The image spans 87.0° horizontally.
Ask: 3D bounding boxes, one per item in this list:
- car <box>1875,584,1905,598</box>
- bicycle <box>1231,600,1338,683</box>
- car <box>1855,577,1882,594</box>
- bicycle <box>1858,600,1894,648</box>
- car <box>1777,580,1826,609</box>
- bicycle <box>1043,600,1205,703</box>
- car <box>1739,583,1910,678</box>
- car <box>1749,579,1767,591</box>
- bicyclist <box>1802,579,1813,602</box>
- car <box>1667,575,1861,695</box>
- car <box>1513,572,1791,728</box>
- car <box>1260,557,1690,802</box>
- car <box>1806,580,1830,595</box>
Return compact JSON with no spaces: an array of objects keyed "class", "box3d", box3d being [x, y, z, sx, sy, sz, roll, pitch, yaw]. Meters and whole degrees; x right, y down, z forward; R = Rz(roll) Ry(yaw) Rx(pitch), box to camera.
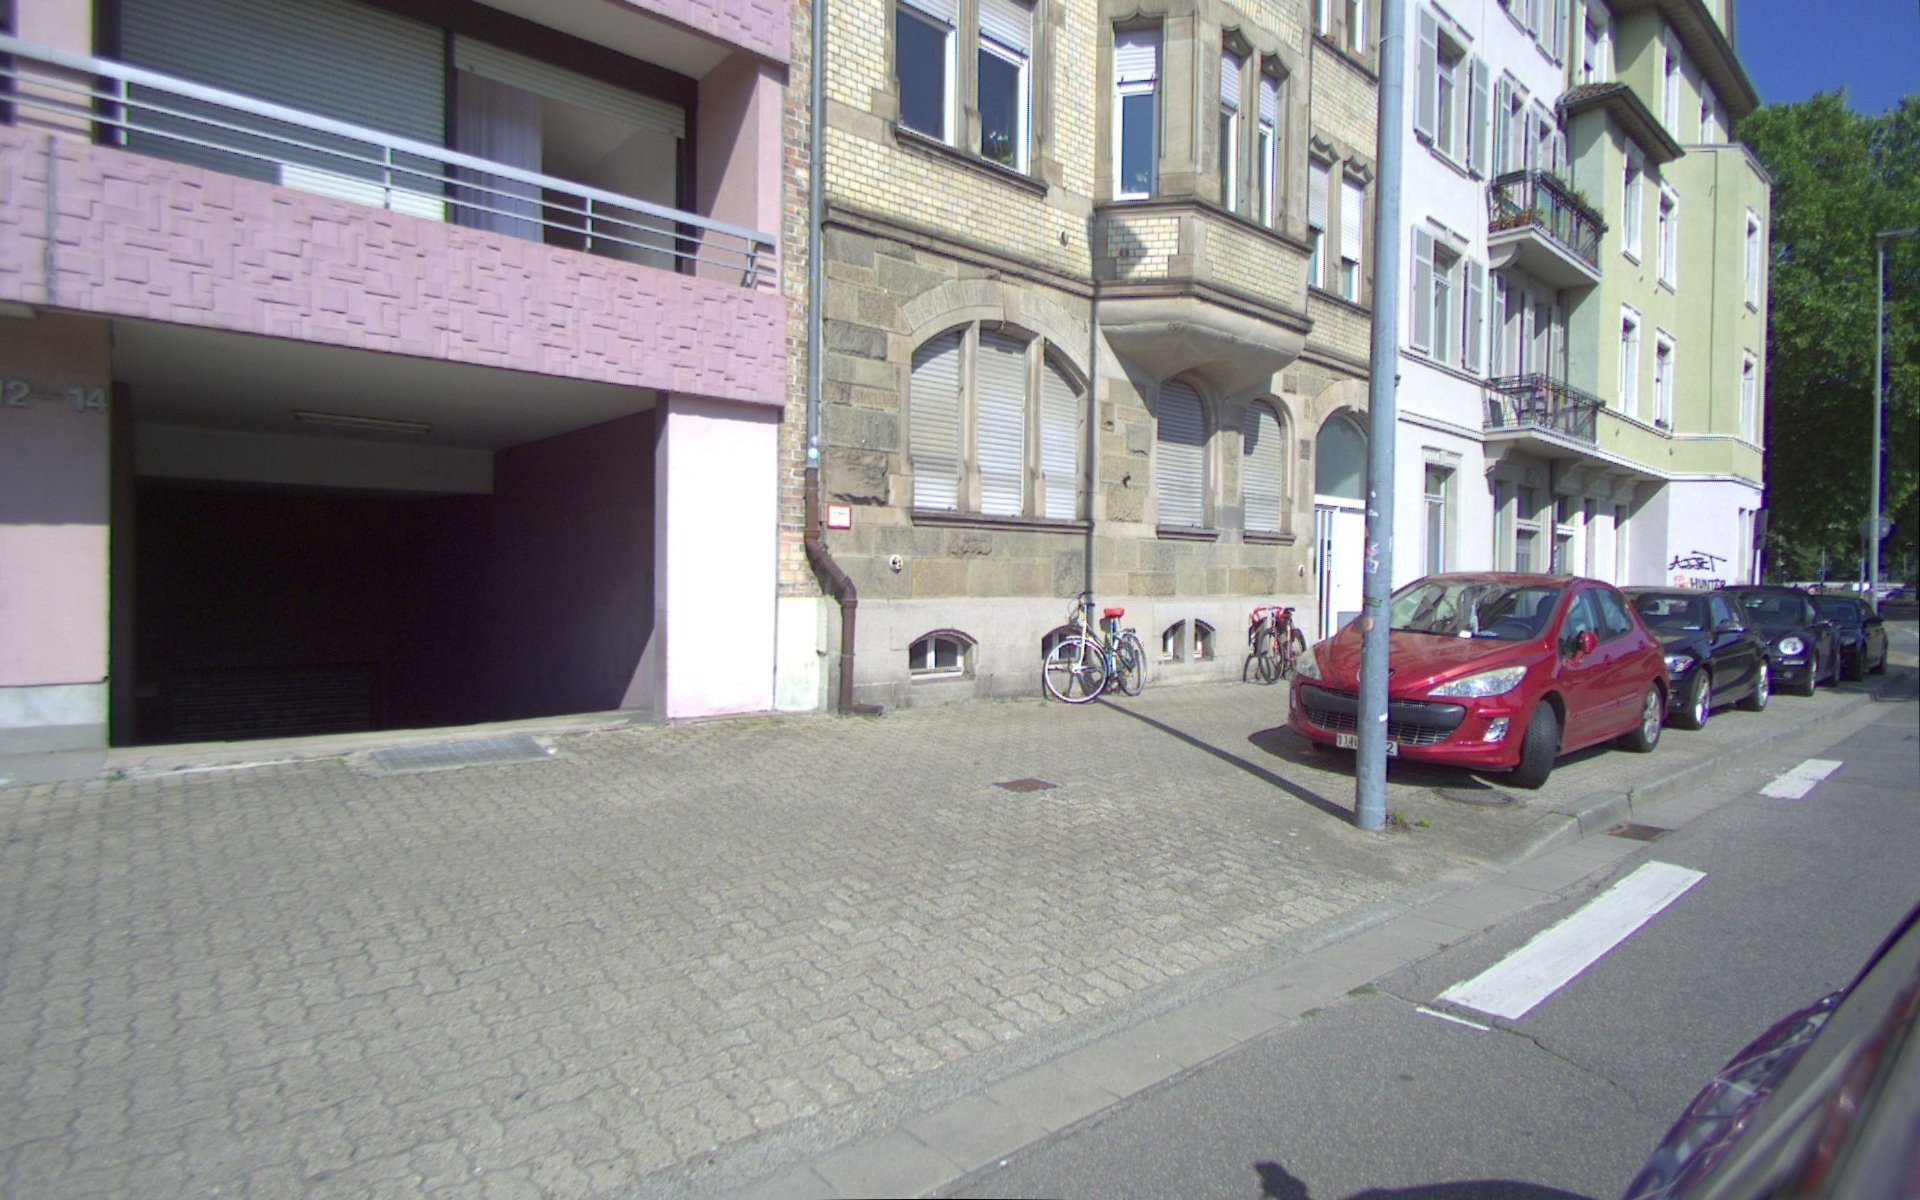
[{"class":"car","box3d":[103.757,-0.978,112.953,1.621,1.514,3.642,2,2,30]},{"class":"bicycle","box3d":[4.181,0.498,12.983,1.623,0.982,0.509,0,2,-40]},{"class":"car","box3d":[106.942,-1.724,119.138,1.621,1.939,3.641,1,1,30]},{"class":"bicycle","box3d":[22.465,0.573,24.813,0.577,1.101,1.707,1,1,44]},{"class":"car","box3d":[48.023,-0.343,57.788,1.782,1.531,3.845,1,2,35]},{"class":"bicycle","box3d":[1.771,0.503,10.774,1.831,0.982,0.652,0,2,-40]},{"class":"car","box3d":[15.413,0.454,17.979,4.010,1.433,1.744,0,3,-42]},{"class":"car","box3d":[120.942,-2.263,153.439,1.621,1.834,3.554,2,2,30]},{"class":"bicyclist","box3d":[62.361,-0.695,74.497,0.539,1.653,0.580,2,2,42]},{"class":"car","box3d":[12.081,0.425,15.119,3.942,1.519,1.644,-1,3,-43]},{"class":"car","box3d":[8.044,0.452,11.624,4.054,1.471,1.645,0,2,-41]},{"class":"car","box3d":[4.349,0.456,8.296,3.931,1.500,1.788,0,3,-41]},{"class":"car","box3d":[109.075,-1.610,128.717,1.621,1.834,3.554,2,2,30]}]
